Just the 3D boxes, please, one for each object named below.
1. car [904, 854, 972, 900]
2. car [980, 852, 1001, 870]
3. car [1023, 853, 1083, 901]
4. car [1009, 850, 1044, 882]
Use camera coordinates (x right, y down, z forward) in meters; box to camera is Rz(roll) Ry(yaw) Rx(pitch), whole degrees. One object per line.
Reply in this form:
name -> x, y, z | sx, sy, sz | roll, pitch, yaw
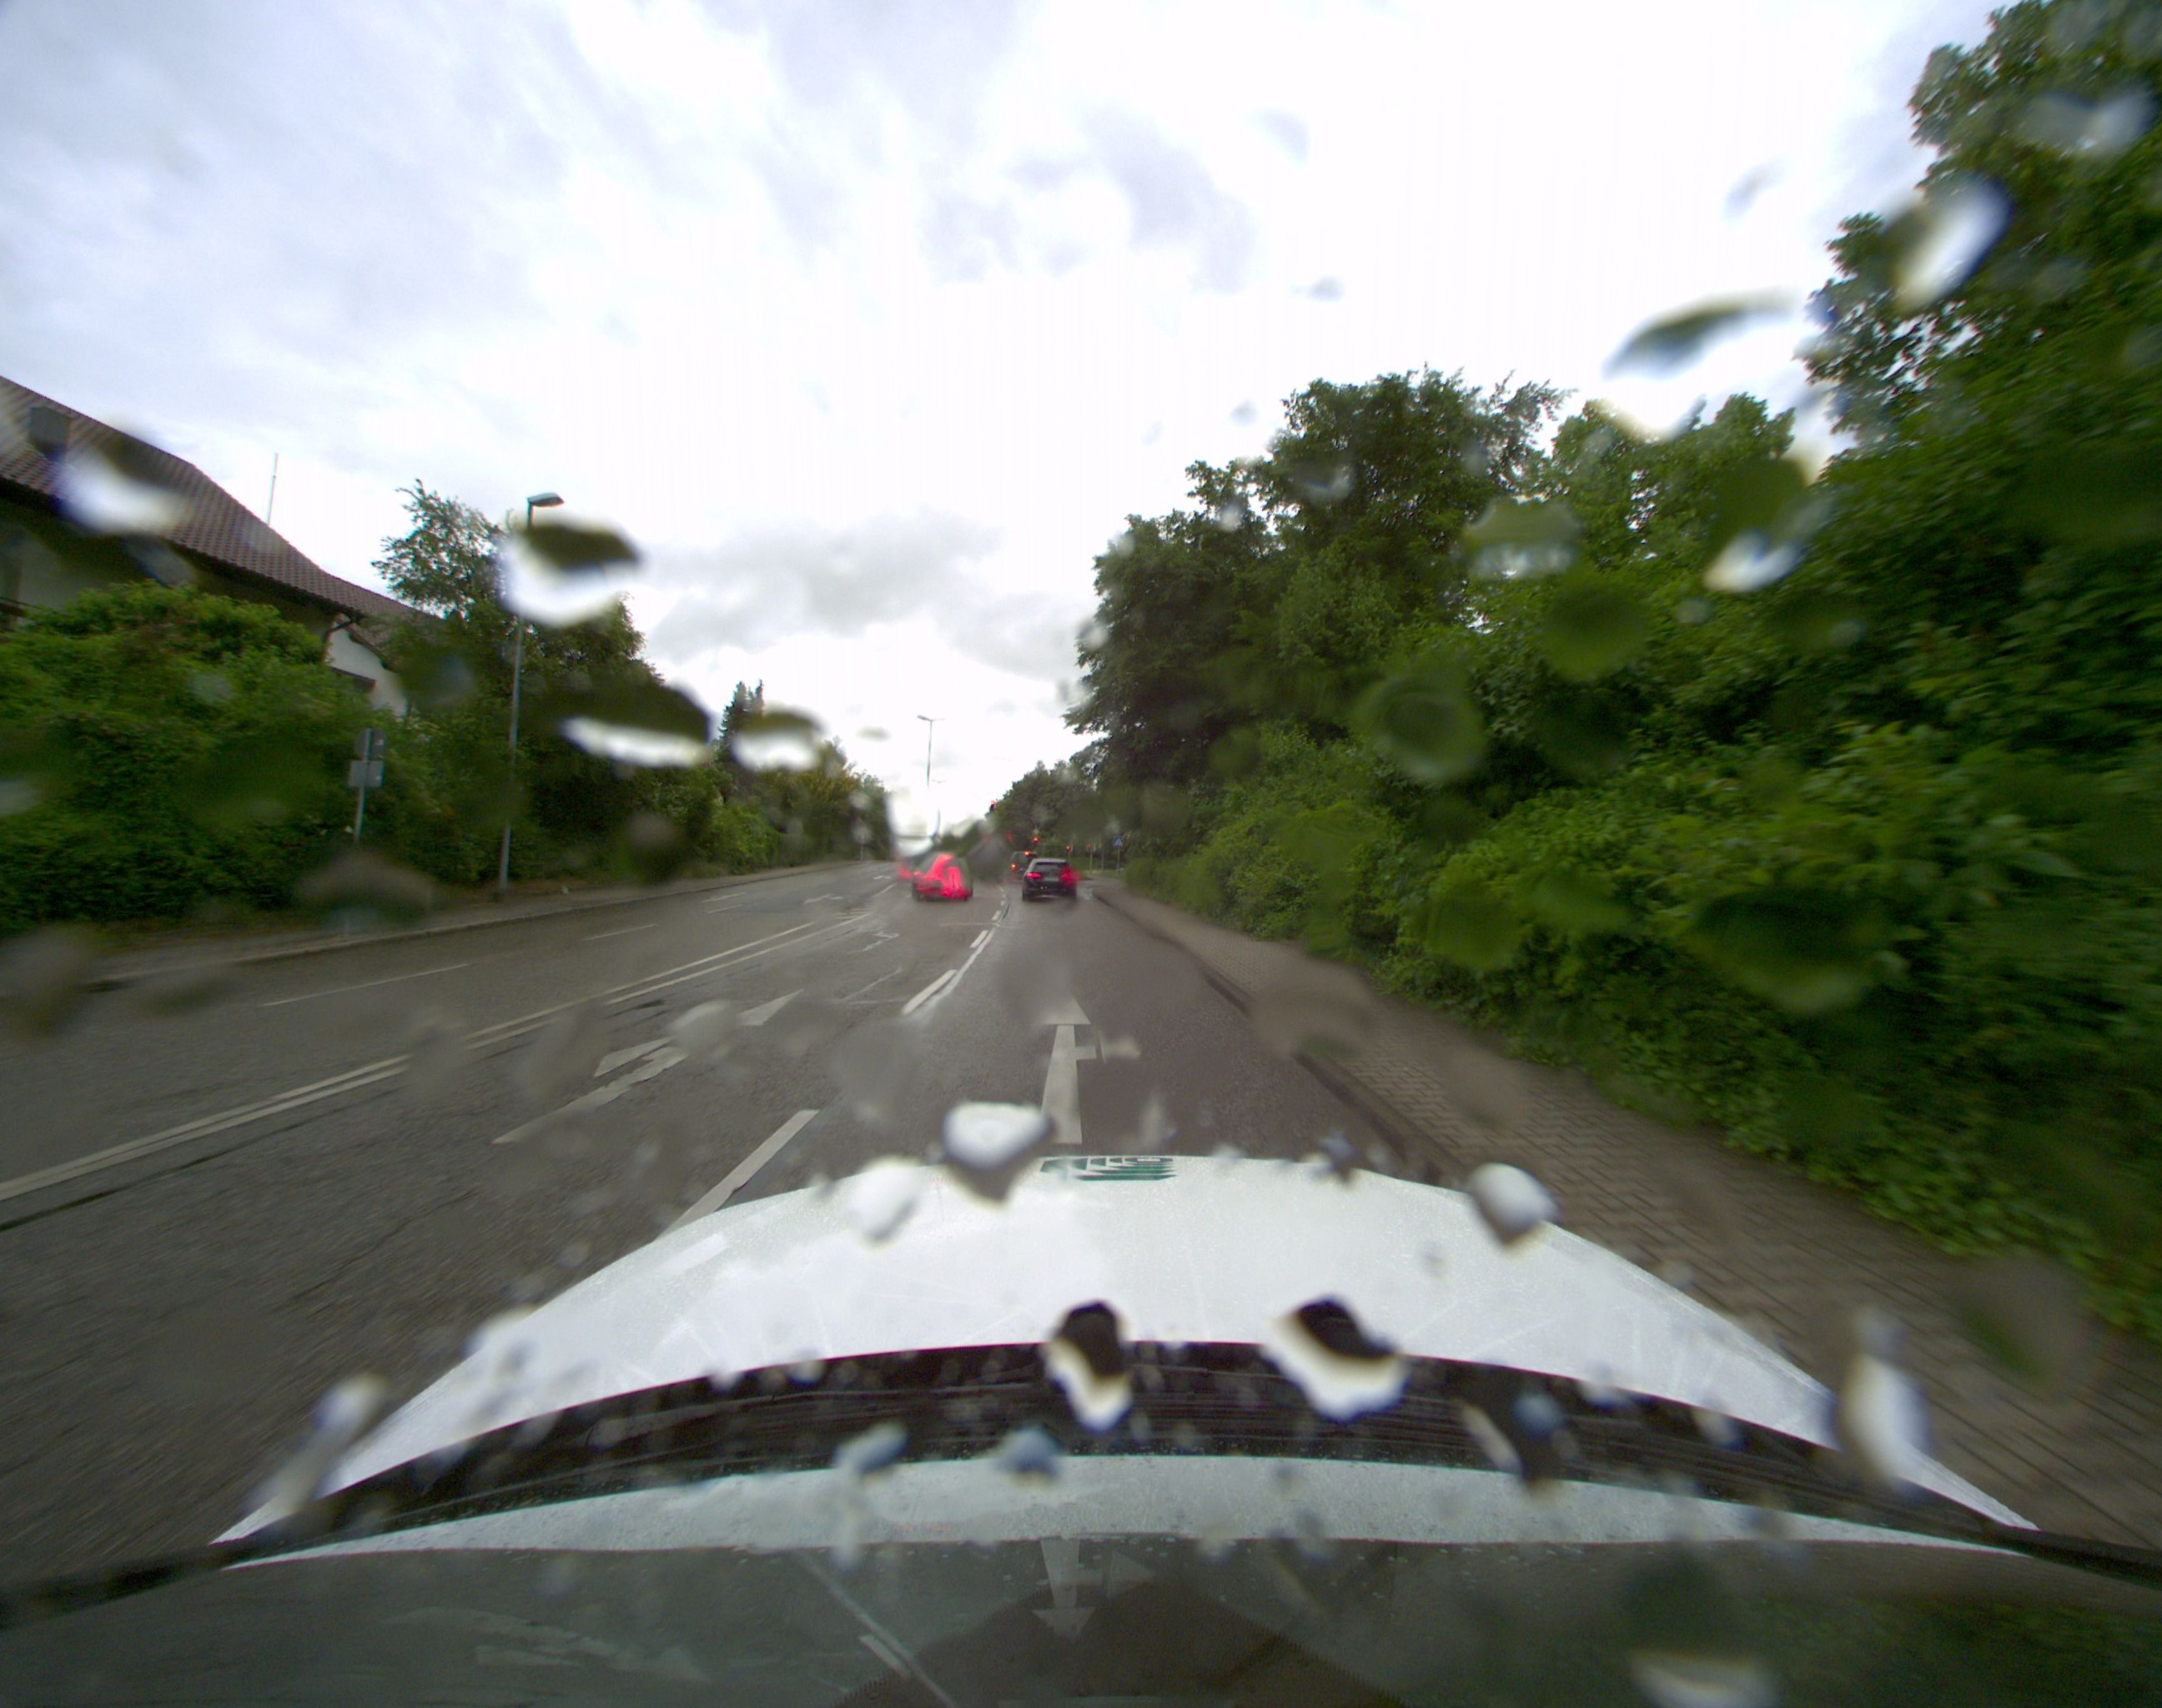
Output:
car -> -4.919, 0.748, 28.562 | 1.902, 1.398, 4.848 | 1, 0, -5
car -> -9.557, 0.774, 85.928 | 1.851, 1.662, 3.985 | 1, -4, -10
car -> -1.049, 0.765, 29.638 | 1.989, 1.586, 4.658 | 1, 0, -3
car -> -3.249, 0.716, 48.009 | 1.990, 1.749, 3.992 | -1, -1, -5
